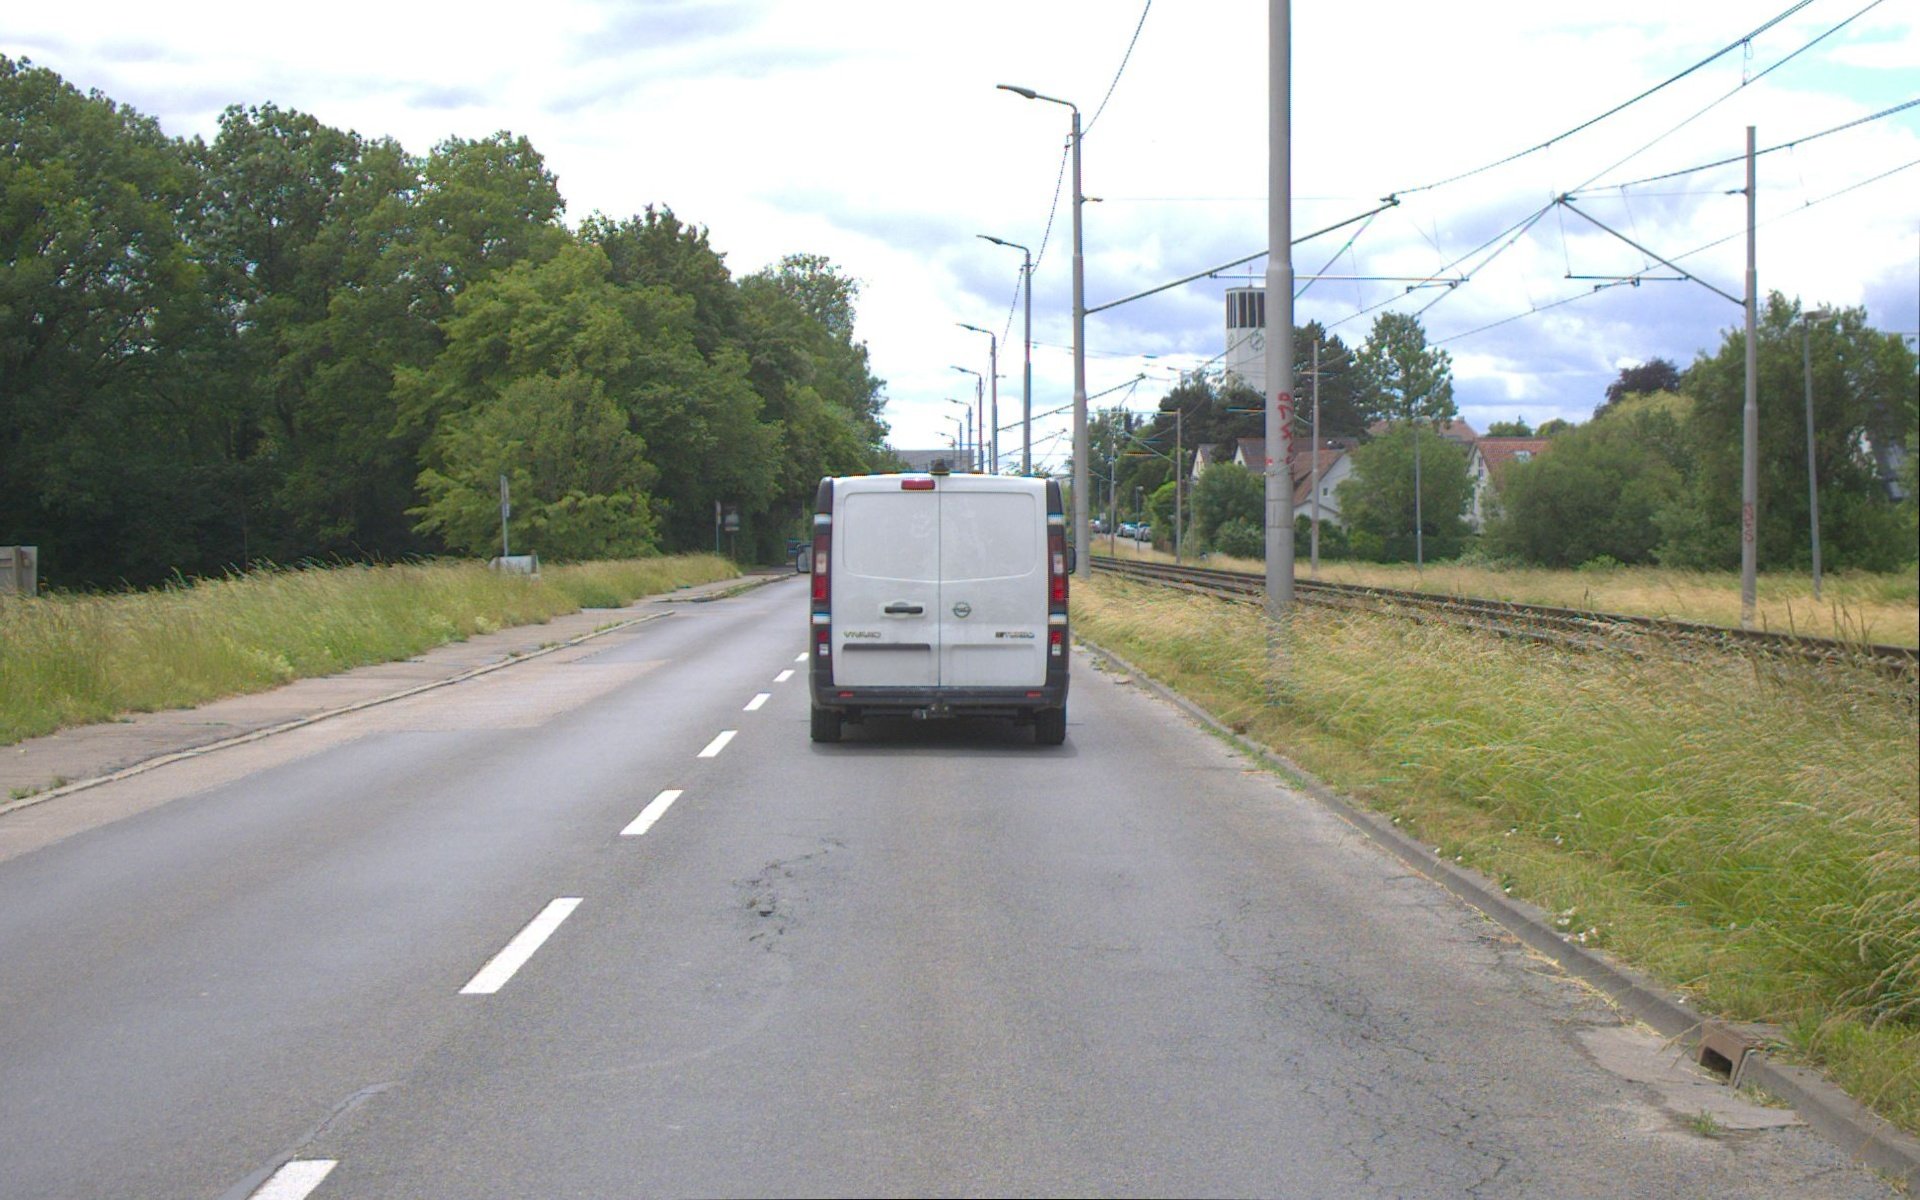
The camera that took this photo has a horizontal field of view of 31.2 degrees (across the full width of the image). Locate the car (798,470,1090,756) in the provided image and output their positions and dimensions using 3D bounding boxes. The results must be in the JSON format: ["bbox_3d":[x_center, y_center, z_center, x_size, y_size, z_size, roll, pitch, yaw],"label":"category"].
[{"bbox_3d":[-0.168,0.063,25.685,1.993,1.950,4.000,1,1,-2],"label":"car"}]
